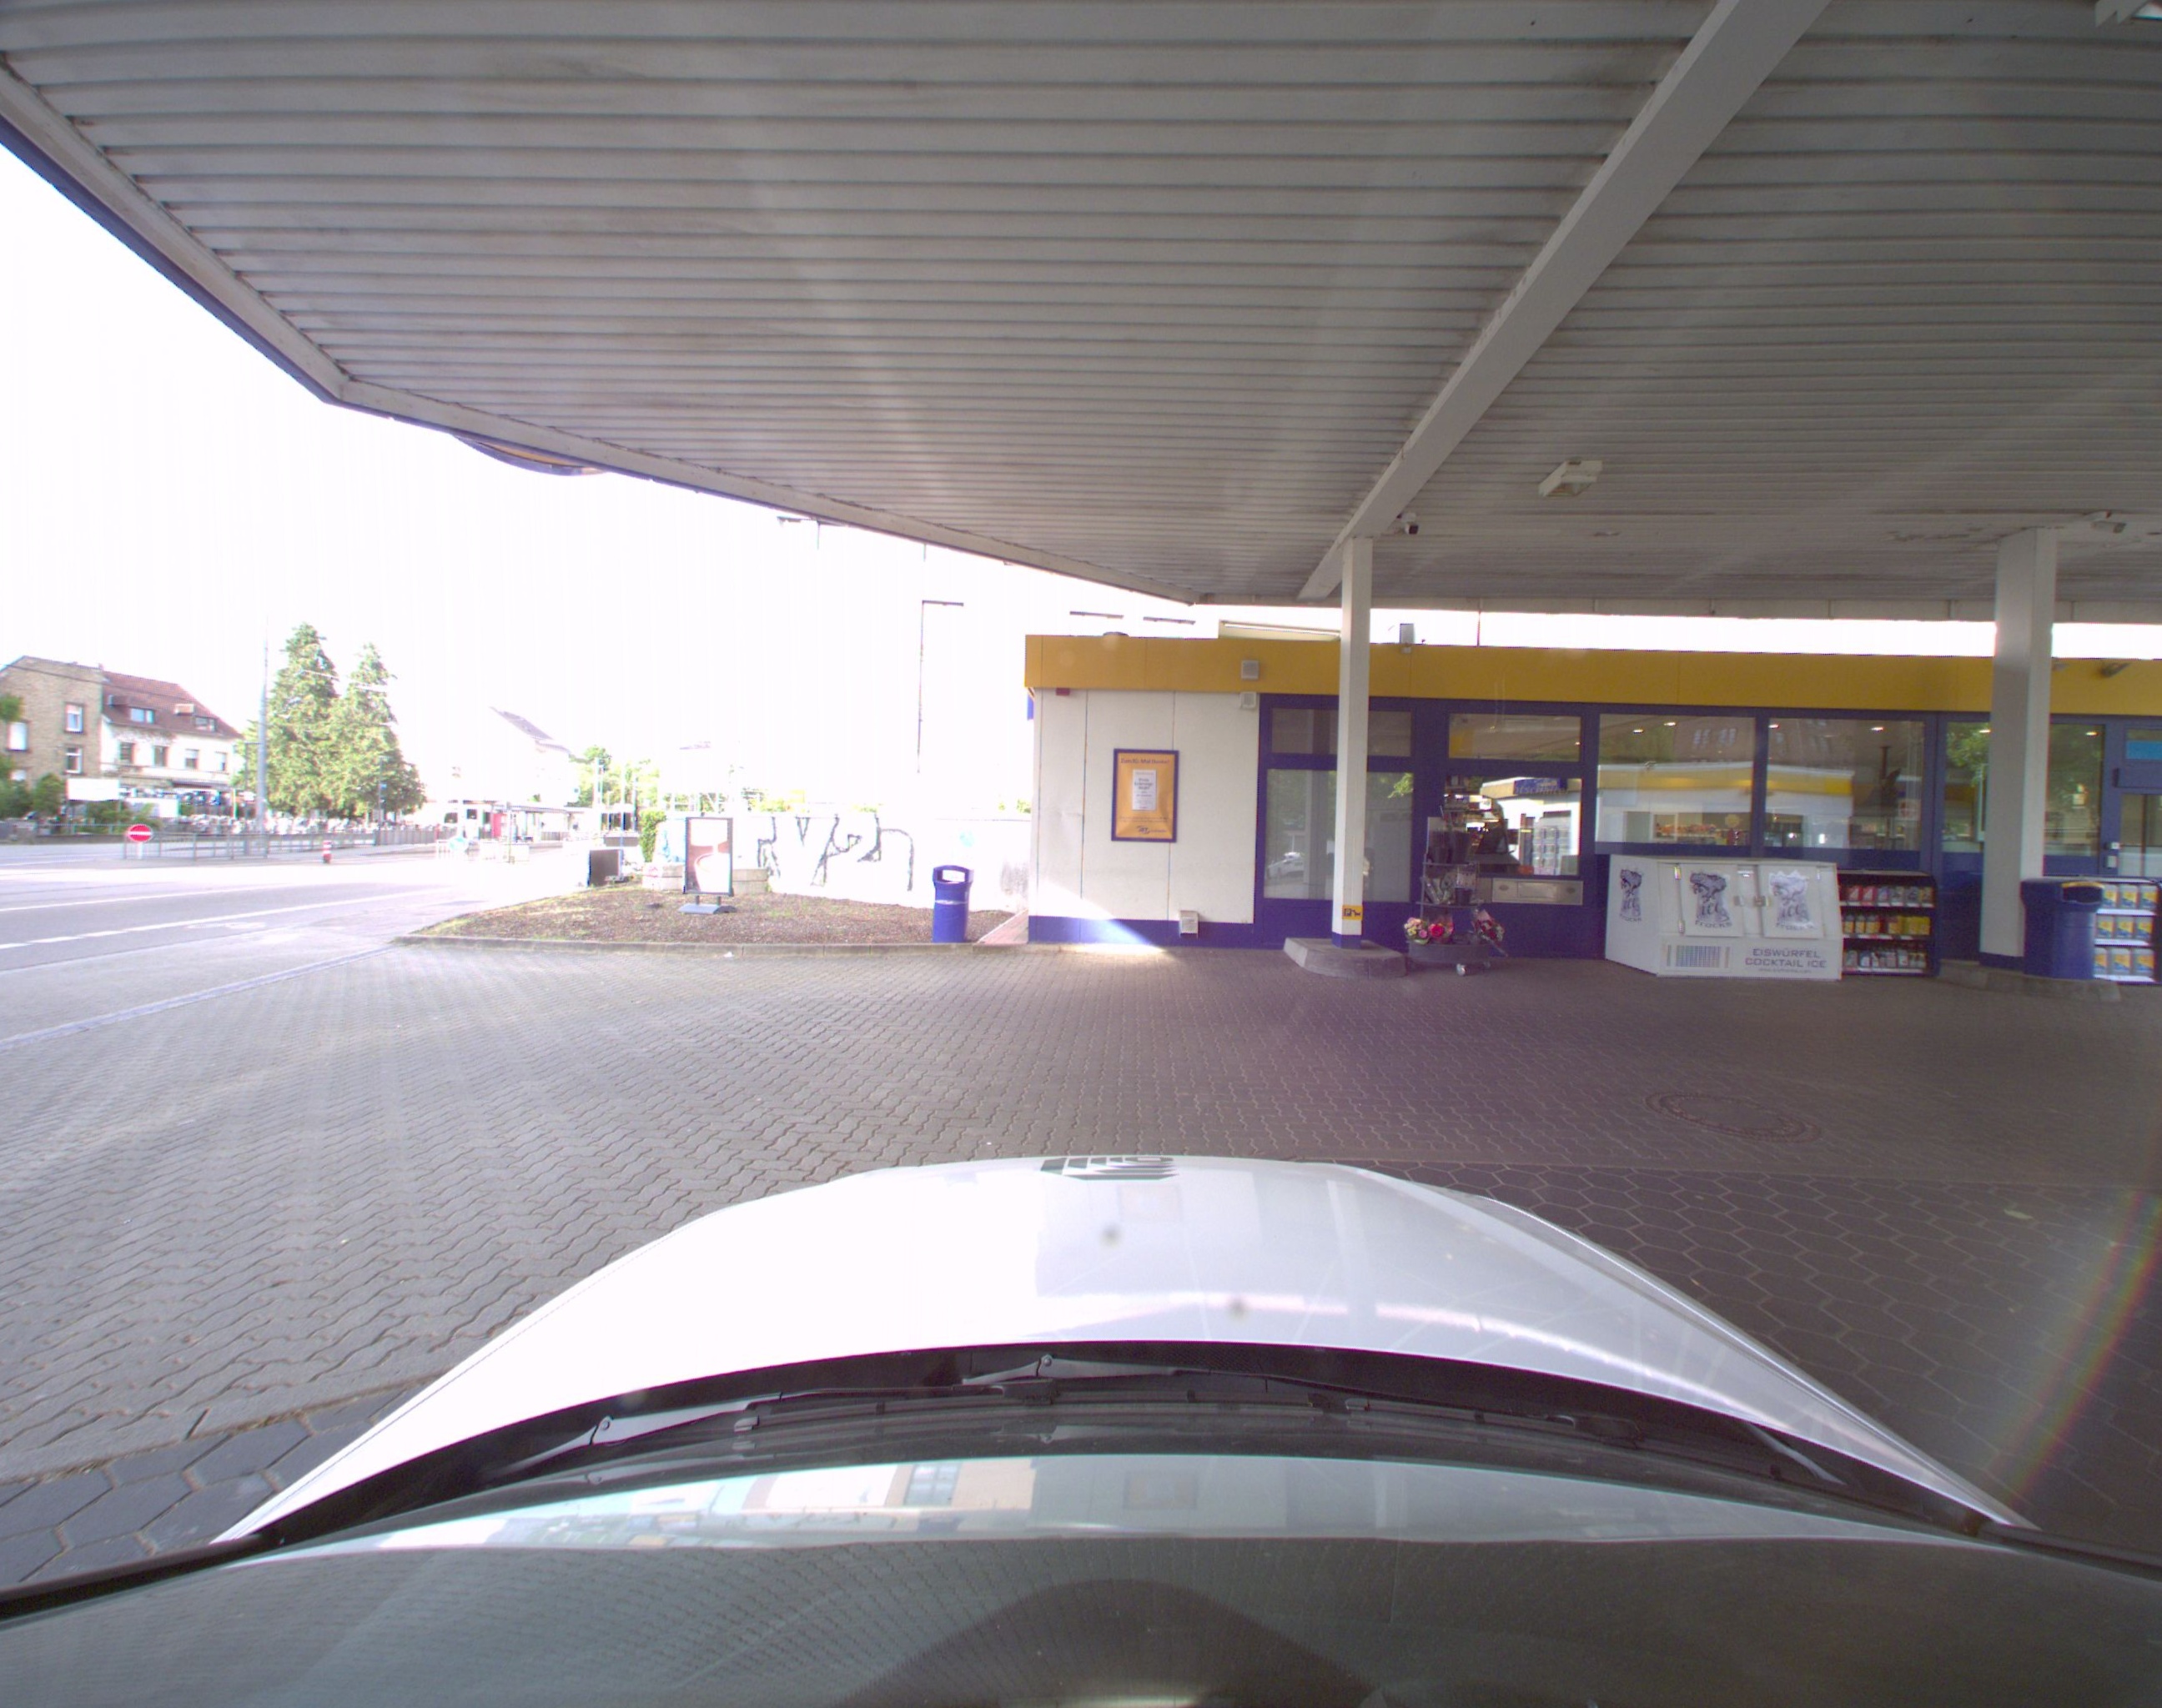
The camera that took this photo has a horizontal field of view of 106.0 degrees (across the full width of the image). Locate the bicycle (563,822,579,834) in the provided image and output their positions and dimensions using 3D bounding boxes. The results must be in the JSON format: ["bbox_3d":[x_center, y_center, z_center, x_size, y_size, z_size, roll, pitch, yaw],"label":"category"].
[{"bbox_3d":[-56.224,-2.867,89.766,0.750,1.203,1.813,9,-1,-12],"label":"bicycle"}]

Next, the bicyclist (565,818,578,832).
[{"bbox_3d":[-56.209,-3.172,89.830,0.750,1.409,0.917,8,-1,-12],"label":"bicyclist"}]
